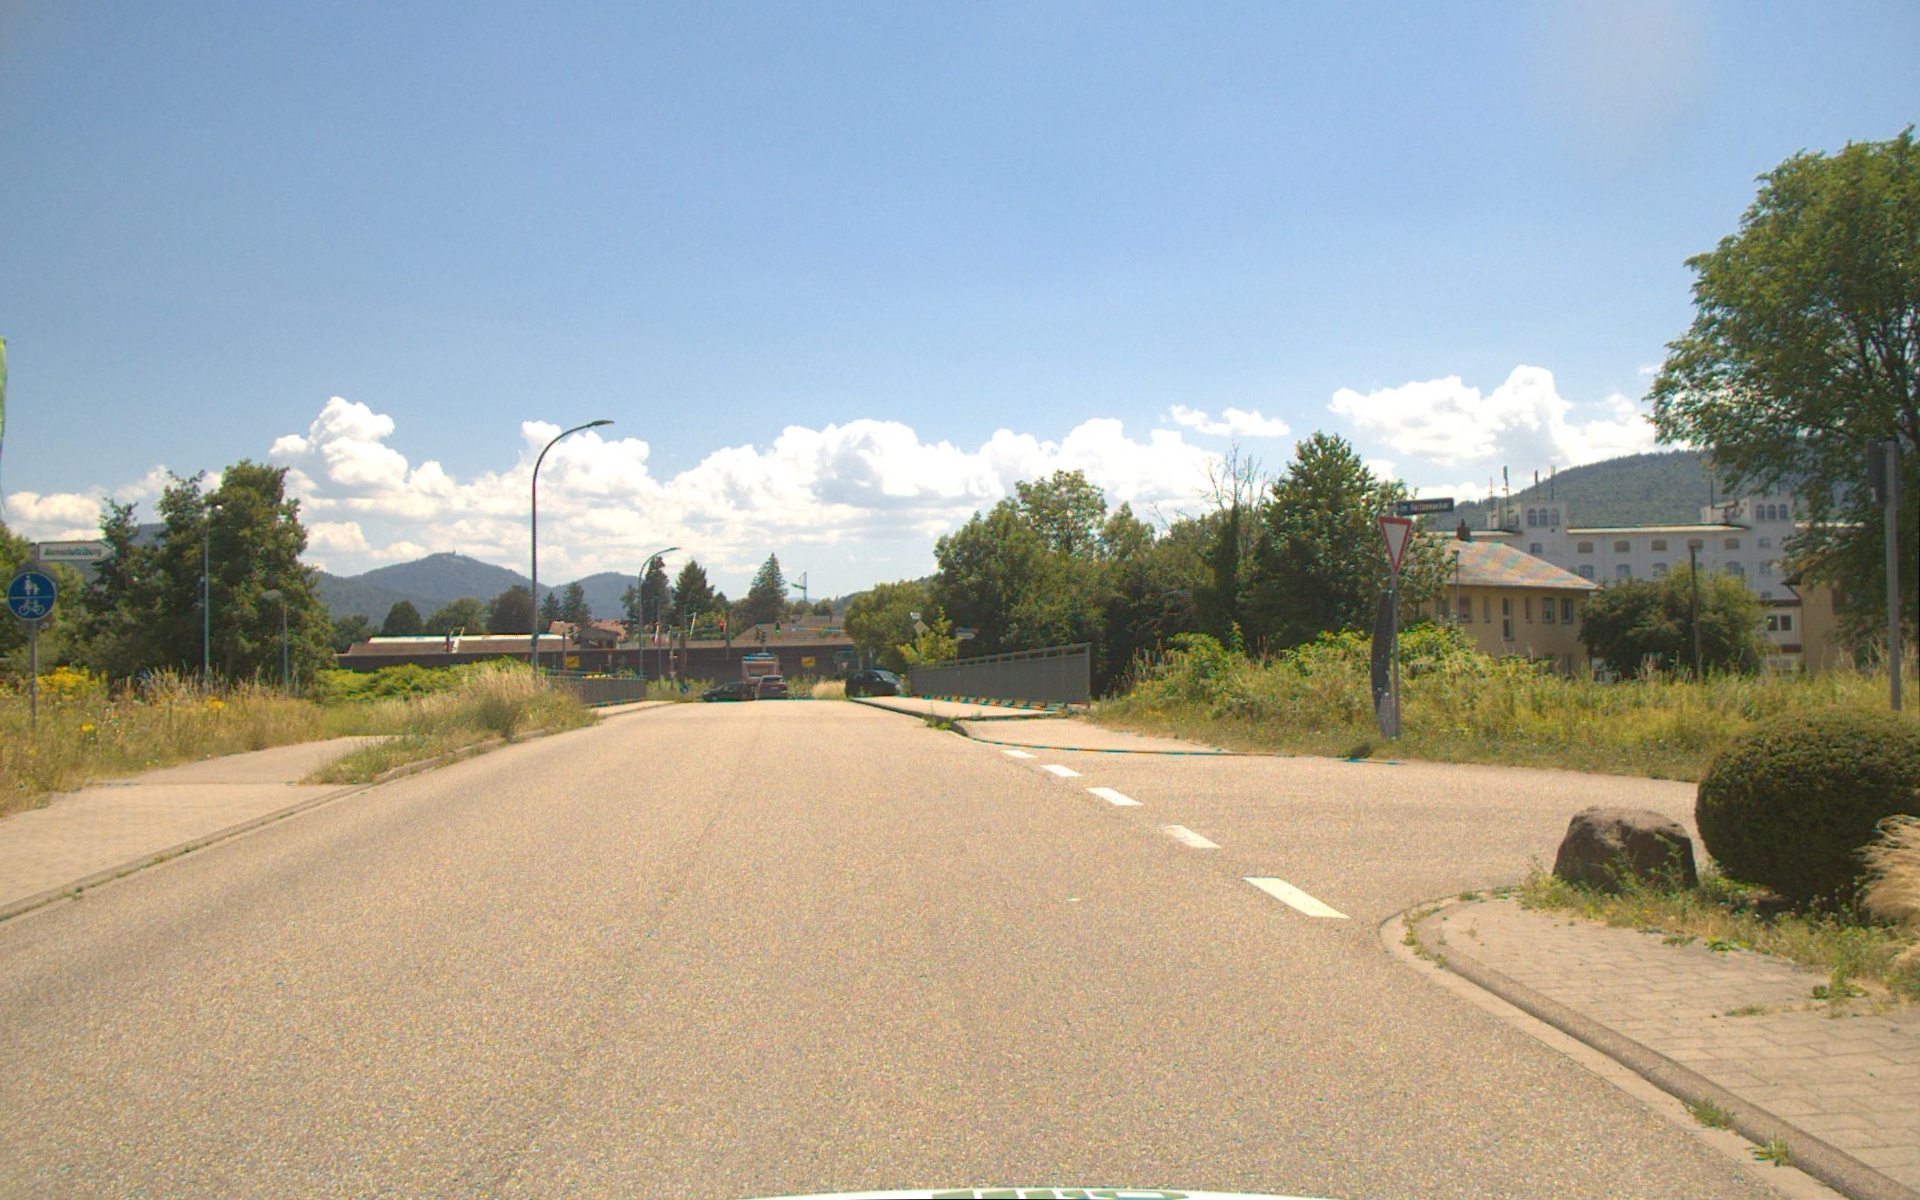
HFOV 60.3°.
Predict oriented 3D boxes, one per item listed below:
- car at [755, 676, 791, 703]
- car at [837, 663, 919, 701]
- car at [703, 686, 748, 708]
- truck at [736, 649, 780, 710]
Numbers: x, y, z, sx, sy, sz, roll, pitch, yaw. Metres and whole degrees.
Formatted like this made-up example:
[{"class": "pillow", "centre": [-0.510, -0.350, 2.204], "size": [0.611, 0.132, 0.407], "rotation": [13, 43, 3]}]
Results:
[{"class": "car", "centre": [-11.052, 5.260, 97.534], "size": [1.956, 1.529, 3.992], "rotation": [1, -3, -8]}, {"class": "car", "centre": [-3.888, 3.871, 78.282], "size": [3.706, 1.663, 1.874], "rotation": [-2, -2, 44]}, {"class": "car", "centre": [-21.188, 8.751, 149.286], "size": [3.916, 1.732, 1.903], "rotation": [-1, -1, -11]}, {"class": "truck", "centre": [-14.999, 5.987, 122.259], "size": [2.940, 4.254, 11.781], "rotation": [0, -4, -9]}]
